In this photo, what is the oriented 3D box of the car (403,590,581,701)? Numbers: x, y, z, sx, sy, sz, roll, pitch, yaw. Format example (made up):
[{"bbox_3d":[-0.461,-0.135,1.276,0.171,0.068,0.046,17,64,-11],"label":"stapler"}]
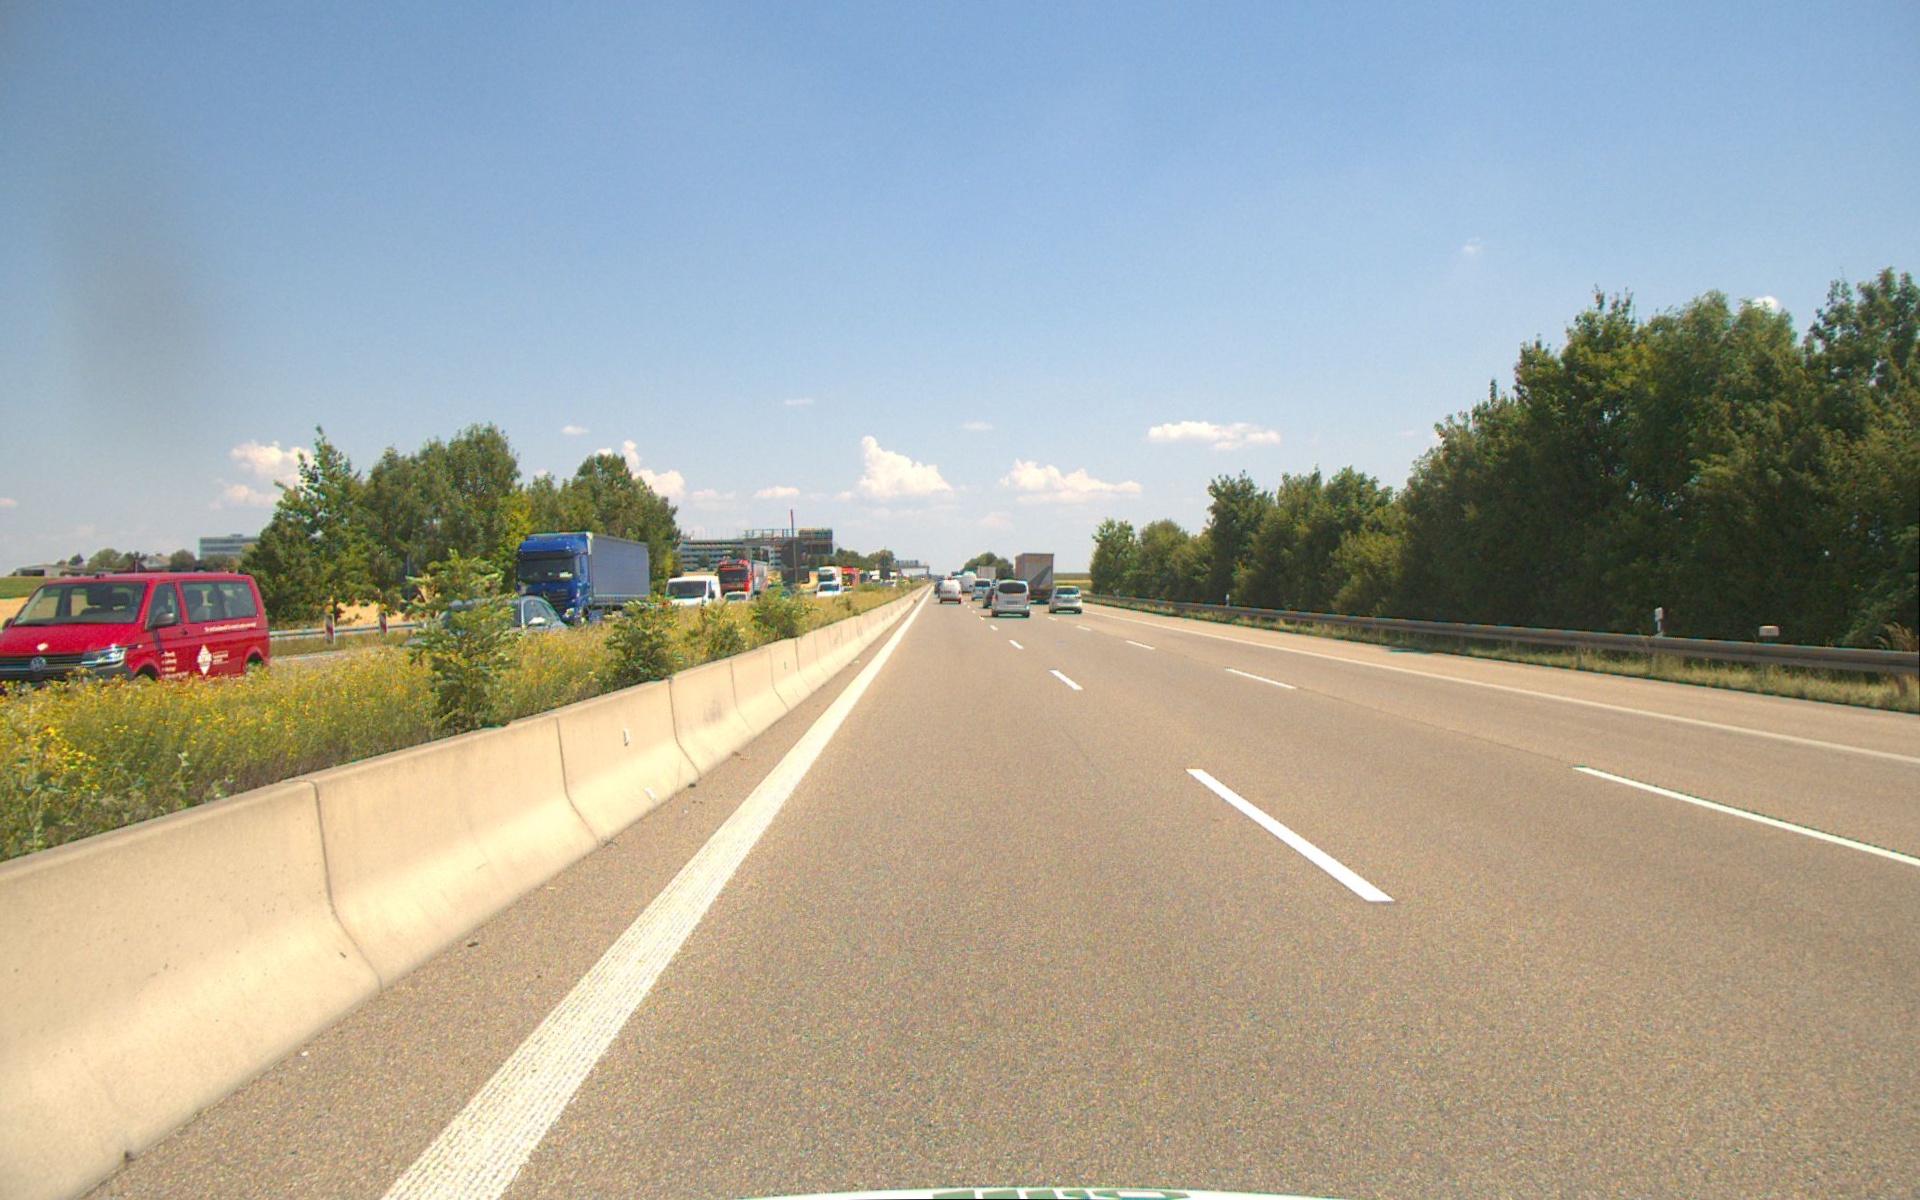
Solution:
[{"bbox_3d":[-7.448,0.657,26.745,1.650,1.593,4.561,-1,0,-1],"label":"car"}]

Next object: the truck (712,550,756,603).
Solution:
[{"bbox_3d":[-17.298,-1.819,126.707,2.798,3.922,3.999,-2,0,-1],"label":"truck"}]

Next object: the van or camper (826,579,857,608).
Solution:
[{"bbox_3d":[-8.345,-0.504,116.702,1.953,1.967,5.200,-1,1,-2],"label":"van or camper"}]

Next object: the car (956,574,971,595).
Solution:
[{"bbox_3d":[0.418,-1.899,204.396,1.737,2.434,3.999,0,0,-1],"label":"car"}]

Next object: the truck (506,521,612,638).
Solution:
[{"bbox_3d":[-15.901,-0.808,65.943,2.807,4.426,5.585,-1,0,-1],"label":"truck"}]

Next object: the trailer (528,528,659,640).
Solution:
[{"bbox_3d":[-15.969,-0.708,73.325,2.824,4.426,13.641,-1,0,-1],"label":"trailer"}]

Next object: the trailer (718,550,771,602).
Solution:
[{"bbox_3d":[-17.444,-1.910,134.803,2.798,3.922,12.183,-2,1,-1],"label":"trailer"}]

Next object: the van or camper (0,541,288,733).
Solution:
[{"bbox_3d":[-11.372,0.428,22.805,2.051,2.314,5.492,-1,1,-2],"label":"van or camper"}]

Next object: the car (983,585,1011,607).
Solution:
[{"bbox_3d":[2.528,-0.249,113.348,1.737,1.472,3.999,0,0,-1],"label":"car"}]

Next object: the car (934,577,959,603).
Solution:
[{"bbox_3d":[-1.070,-0.768,132.516,1.953,2.049,3.999,0,0,-1],"label":"car"}]

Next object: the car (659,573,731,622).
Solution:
[{"bbox_3d":[-11.850,-0.132,74.237,2.139,2.049,5.764,-1,0,1],"label":"car"}]

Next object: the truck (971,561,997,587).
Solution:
[{"bbox_3d":[3.699,-4.057,261.741,3.738,3.973,9.578,-1,0,-1],"label":"truck"}]

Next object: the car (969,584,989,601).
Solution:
[{"bbox_3d":[1.700,-0.698,152.291,1.737,1.472,3.999,0,0,-1],"label":"car"}]

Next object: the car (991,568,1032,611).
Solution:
[{"bbox_3d":[2.669,-0.526,86.001,1.953,2.157,3.999,0,0,-1],"label":"car"}]

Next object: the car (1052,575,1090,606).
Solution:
[{"bbox_3d":[6.681,-0.574,99.786,1.953,1.825,3.999,0,0,-1],"label":"car"}]

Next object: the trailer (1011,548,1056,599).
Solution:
[{"bbox_3d":[6.047,-2.150,138.096,3.211,4.036,9.110,0,0,-1],"label":"trailer"}]

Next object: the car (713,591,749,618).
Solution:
[{"bbox_3d":[-13.074,0.239,94.435,1.584,1.489,3.863,-1,1,-2],"label":"car"}]
